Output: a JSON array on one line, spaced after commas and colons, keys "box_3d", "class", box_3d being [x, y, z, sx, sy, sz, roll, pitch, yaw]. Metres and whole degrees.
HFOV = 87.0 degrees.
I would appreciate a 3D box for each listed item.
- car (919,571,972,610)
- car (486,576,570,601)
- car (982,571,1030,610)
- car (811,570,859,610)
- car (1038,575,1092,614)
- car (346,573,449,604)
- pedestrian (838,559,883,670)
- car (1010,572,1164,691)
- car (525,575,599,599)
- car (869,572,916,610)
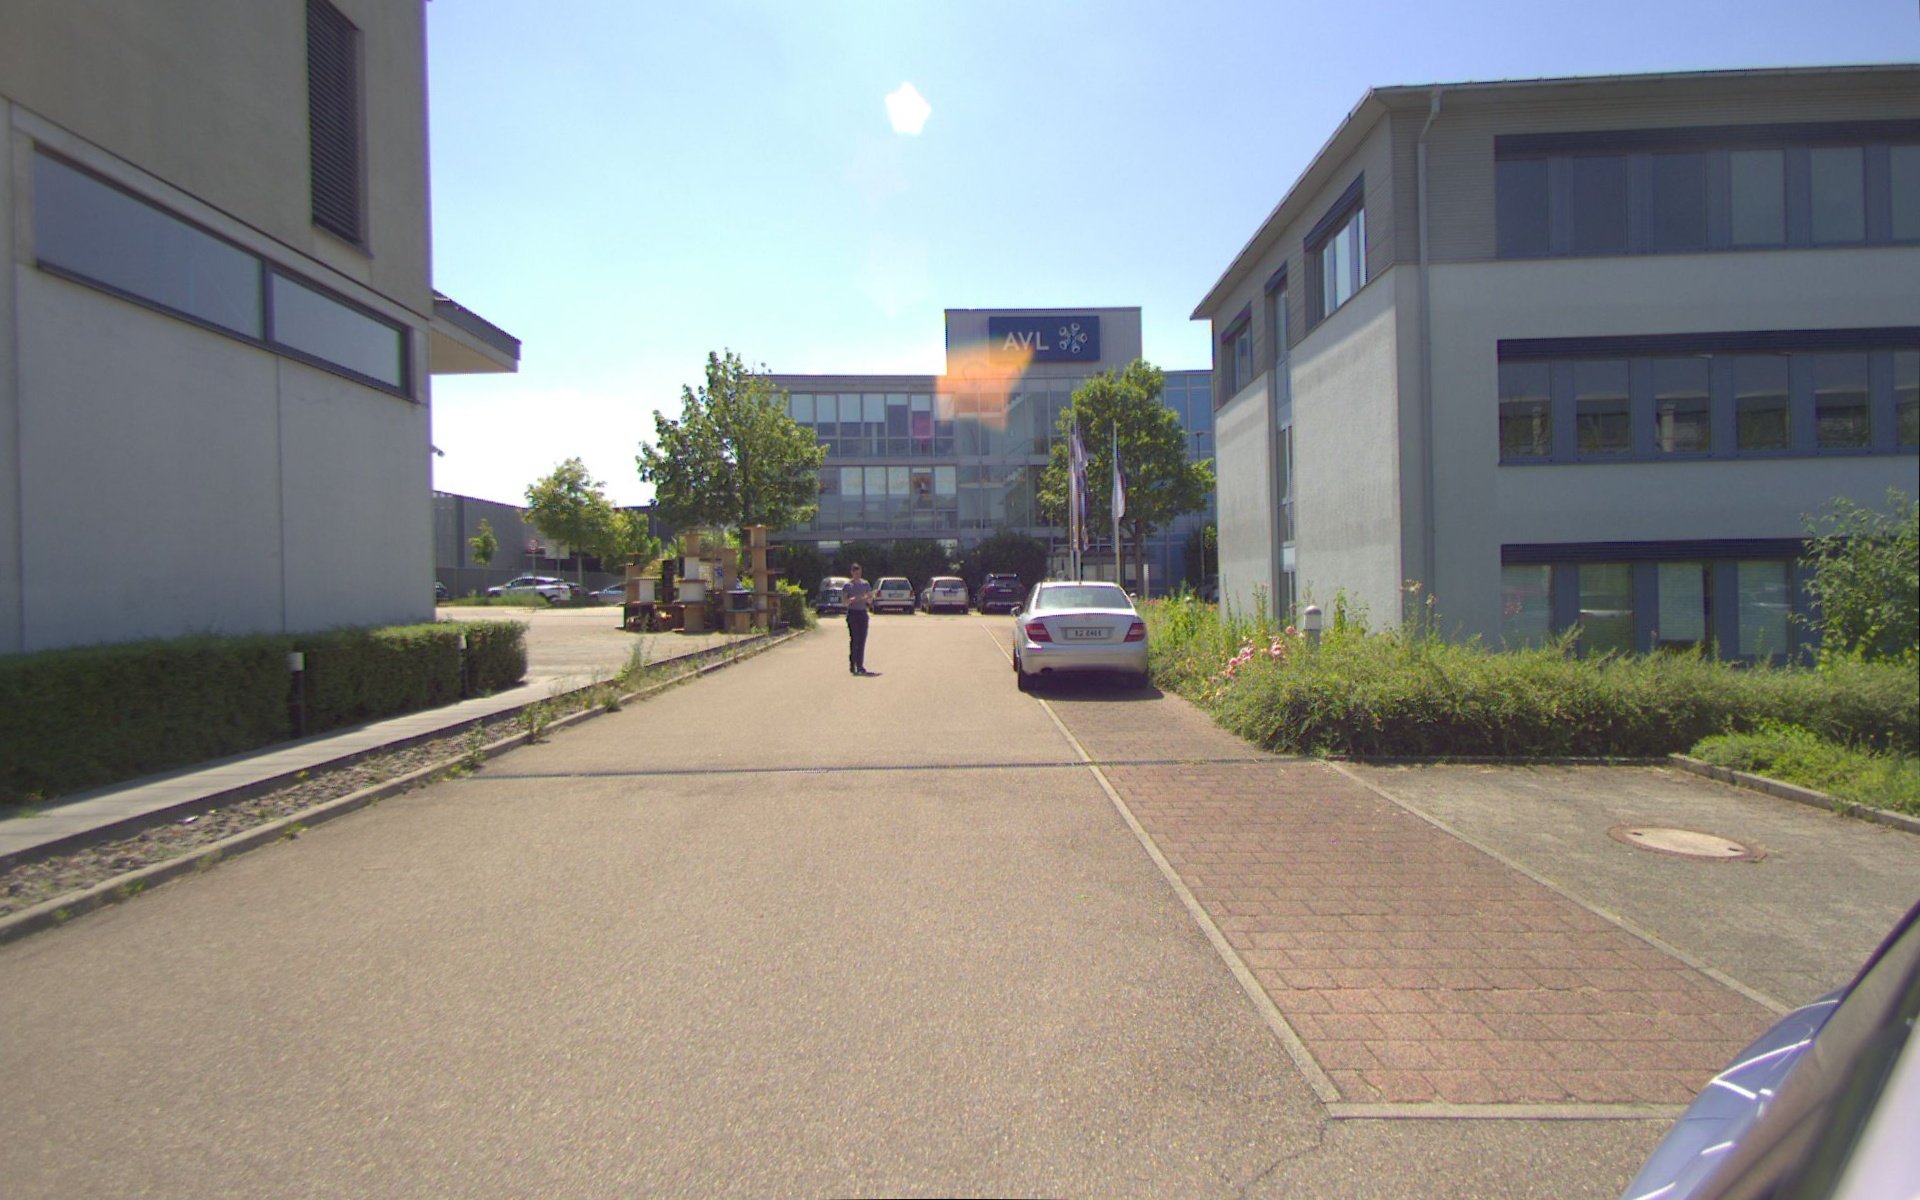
[{"box_3d": [-0.639, -0.388, 42.445, 1.714, 1.538, 4.006, 0, 0, -8], "class": "car"}, {"box_3d": [-25.205, -0.664, 59.069, 4.379, 1.433, 1.743, 0, -1, 12], "class": "car"}, {"box_3d": [1.859, -0.392, 42.006, 1.716, 1.538, 4.001, 0, 0, -1], "class": "car"}, {"box_3d": [-5.083, -0.398, 41.524, 1.715, 1.538, 4.003, 0, 0, -4], "class": "car"}, {"box_3d": [4.312, -0.219, 42.067, 1.716, 1.538, 4.001, 0, 0, -1], "class": "car"}, {"box_3d": [-27.438, -0.540, 49.411, 4.381, 1.433, 1.742, 0, -1, 14], "class": "car"}, {"box_3d": [-1.649, 0.222, 16.649, 0.606, 1.779, 0.790, 0, 0, -14], "class": "pedestrian"}, {"box_3d": [1.670, 0.375, 14.396, 1.697, 1.455, 3.717, 0, 0, 0], "class": "car"}, {"box_3d": [-24.552, -0.776, 62.475, 4.003, 1.433, 1.743, 0, -1, 12], "class": "car"}, {"box_3d": [-2.823, -0.373, 41.766, 1.640, 1.459, 4.006, 0, 0, -8], "class": "car"}]
